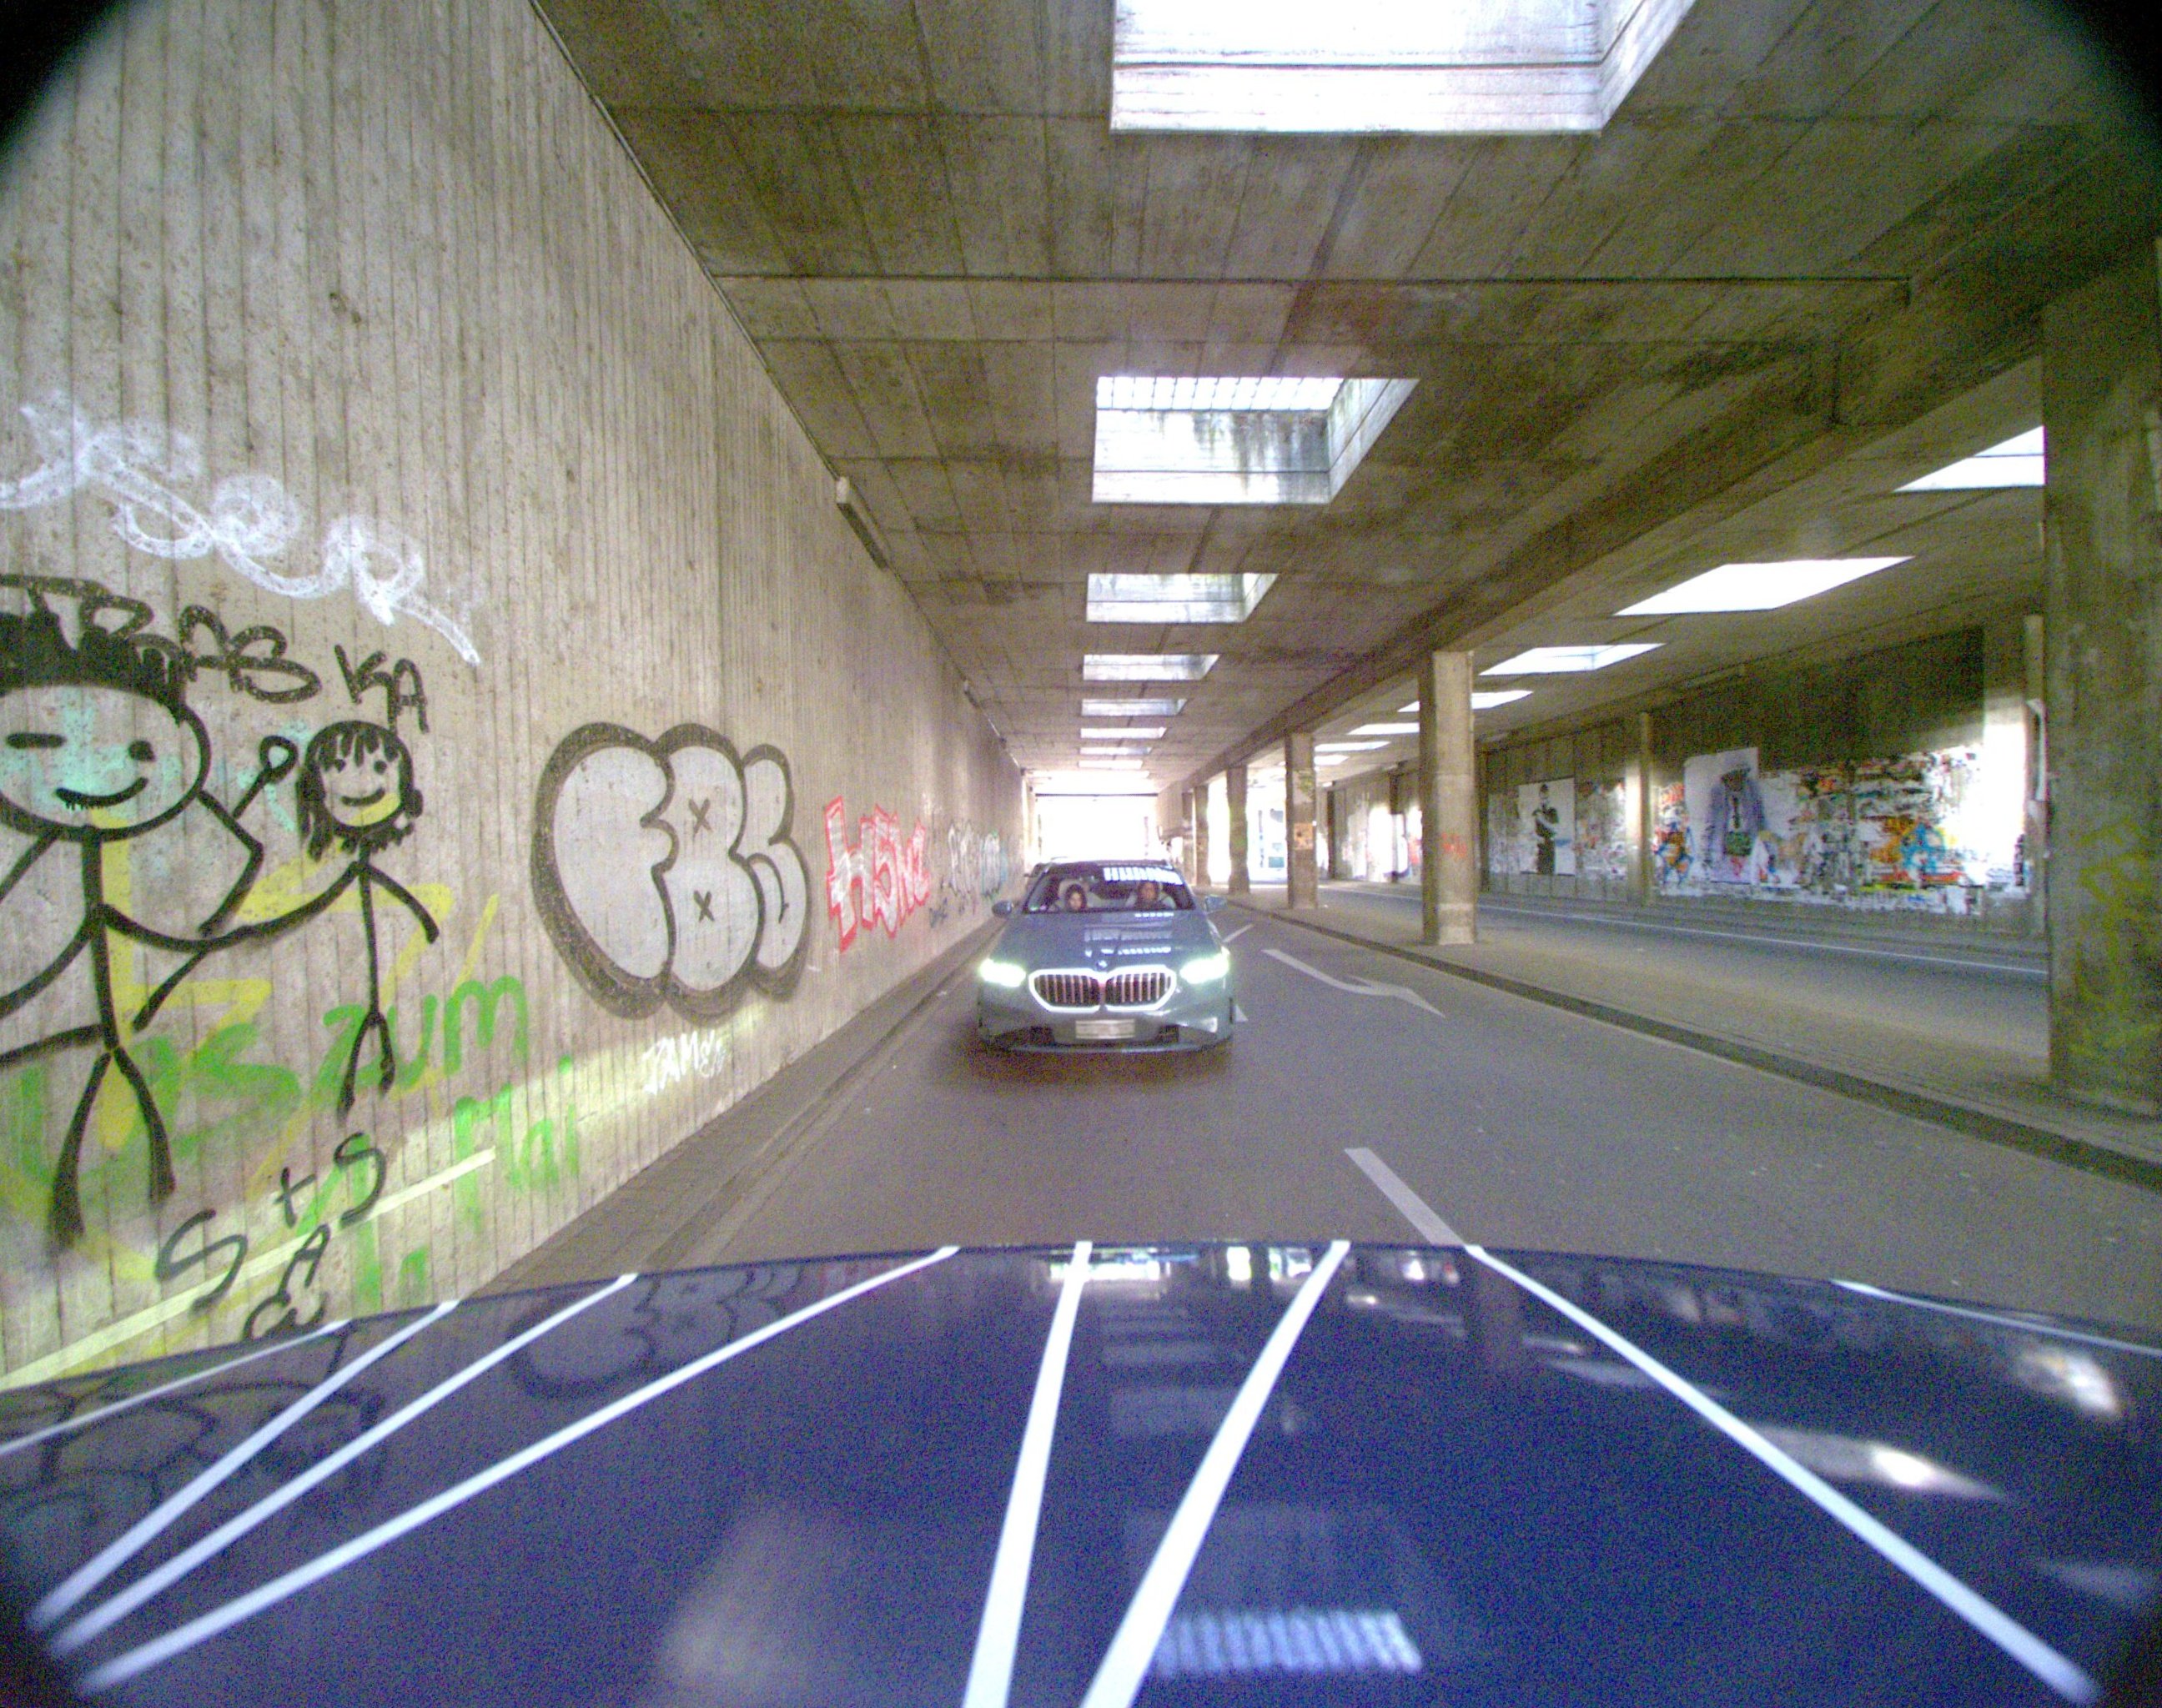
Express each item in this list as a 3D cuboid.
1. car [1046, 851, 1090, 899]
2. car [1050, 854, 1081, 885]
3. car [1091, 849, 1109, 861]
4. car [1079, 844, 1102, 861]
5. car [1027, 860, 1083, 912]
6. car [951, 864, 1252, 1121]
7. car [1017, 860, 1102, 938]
[{"bbox_3d":[-0.478,0.776,29.947,1.592,1.711,3.694,-1,0,0],"label":"car"},{"bbox_3d":[-0.825,0.815,41.274,1.592,1.562,3.694,-1,0,0],"label":"car"},{"bbox_3d":[2.448,0.175,97.995,1.741,1.519,3.786,-2,0,-9],"label":"car"},{"bbox_3d":[1.250,-0.153,103.687,2.161,2.150,4.785,-2,0,-12],"label":"car"},{"bbox_3d":[-0.776,0.950,23.940,1.592,1.432,3.806,-1,0,0],"label":"car"},{"bbox_3d":[0.117,0.901,7.305,1.861,1.516,5.042,-1,0,0],"label":"car"},{"bbox_3d":[-0.438,0.920,17.314,1.679,1.516,3.969,-1,0,0],"label":"car"}]
